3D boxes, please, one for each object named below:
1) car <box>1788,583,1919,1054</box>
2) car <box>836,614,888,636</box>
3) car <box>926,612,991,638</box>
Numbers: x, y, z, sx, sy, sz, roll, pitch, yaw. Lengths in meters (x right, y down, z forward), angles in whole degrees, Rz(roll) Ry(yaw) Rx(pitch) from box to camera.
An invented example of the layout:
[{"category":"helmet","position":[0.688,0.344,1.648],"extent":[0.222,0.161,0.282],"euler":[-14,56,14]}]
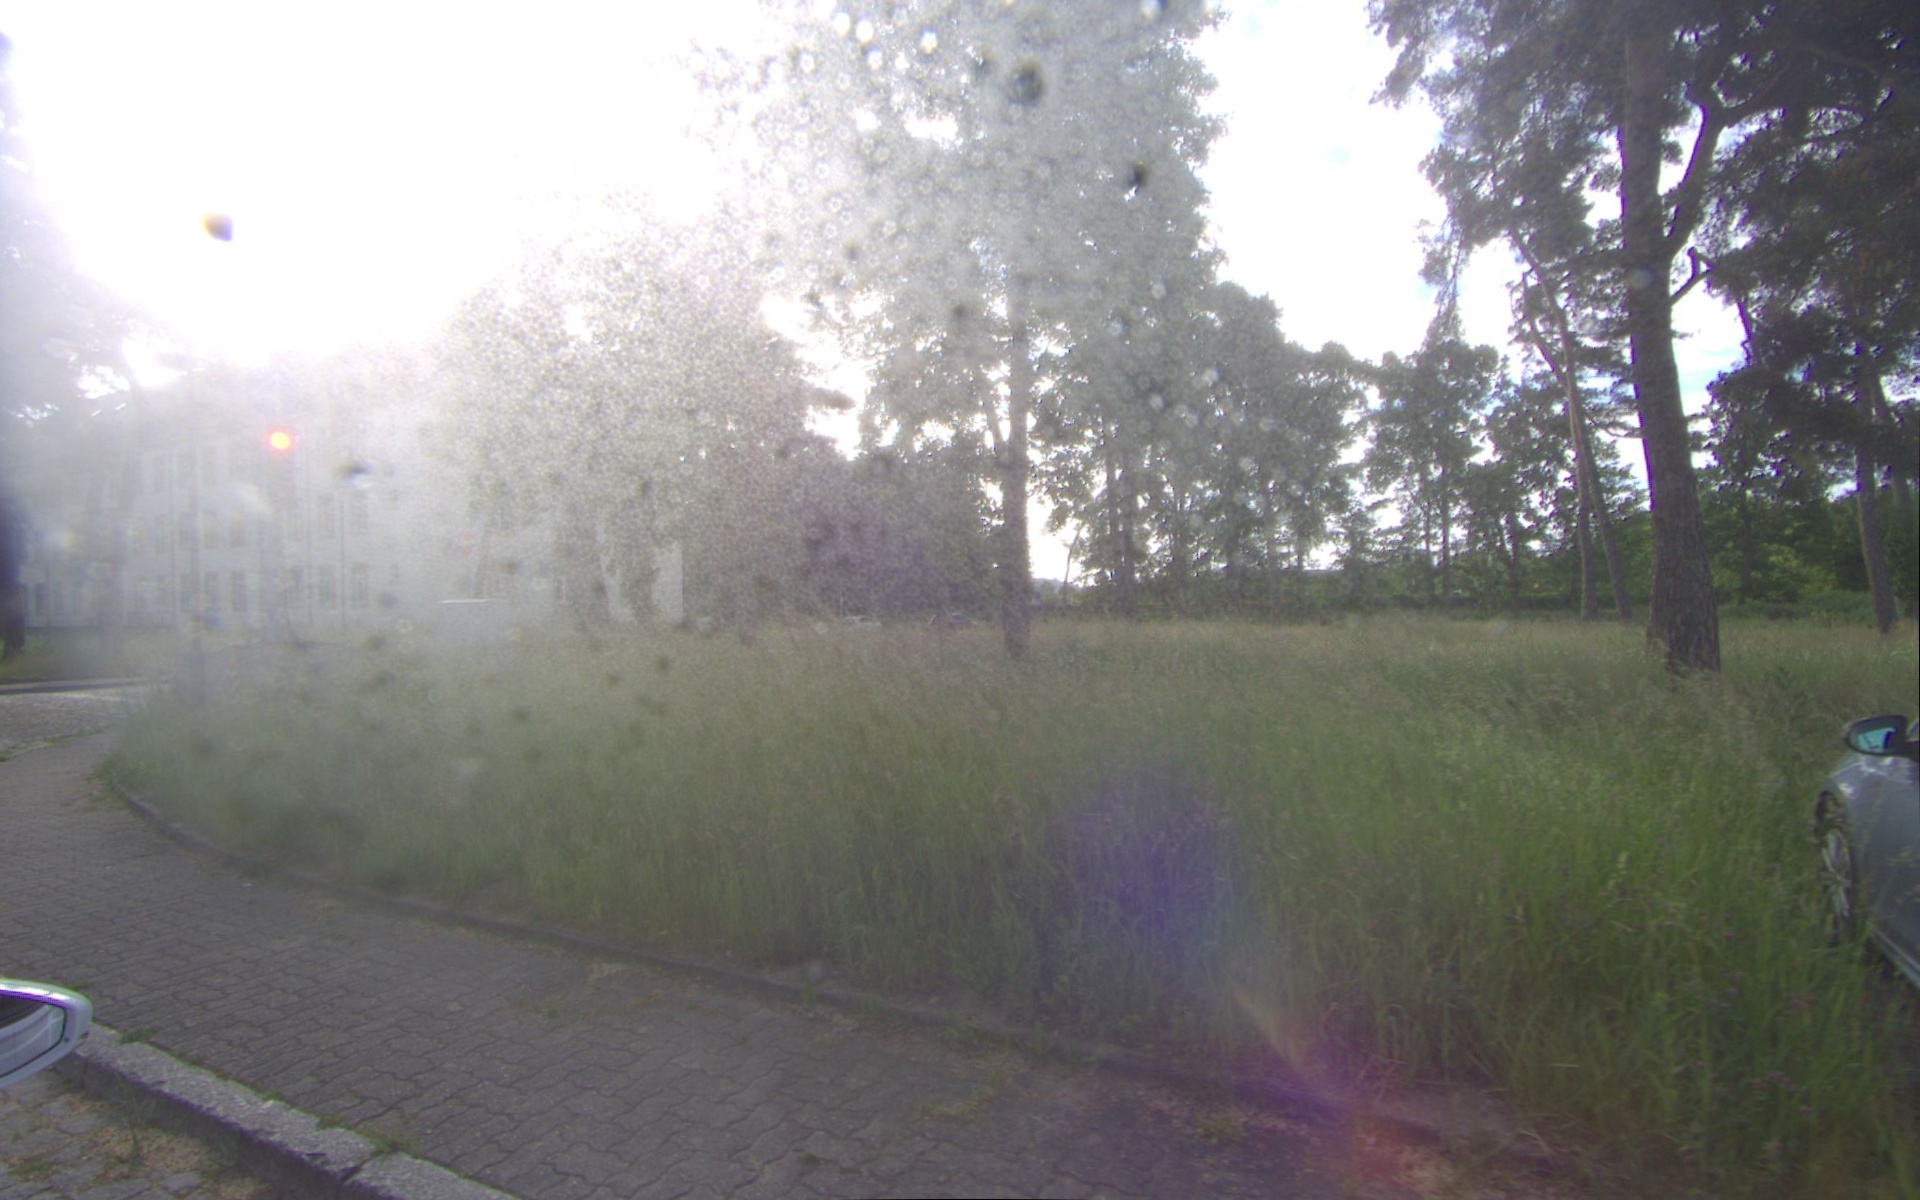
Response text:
[{"category":"car","position":[3.541,0.678,2.384],"extent":[1.616,1.490,3.840],"euler":[0,-1,27]},{"category":"car","position":[-6.742,1.717,69.136],"extent":[1.540,1.415,3.985],"euler":[-1,-3,29]},{"category":"car","position":[-0.147,1.568,64.048],"extent":[3.924,1.622,1.999],"euler":[0,0,-8]}]
